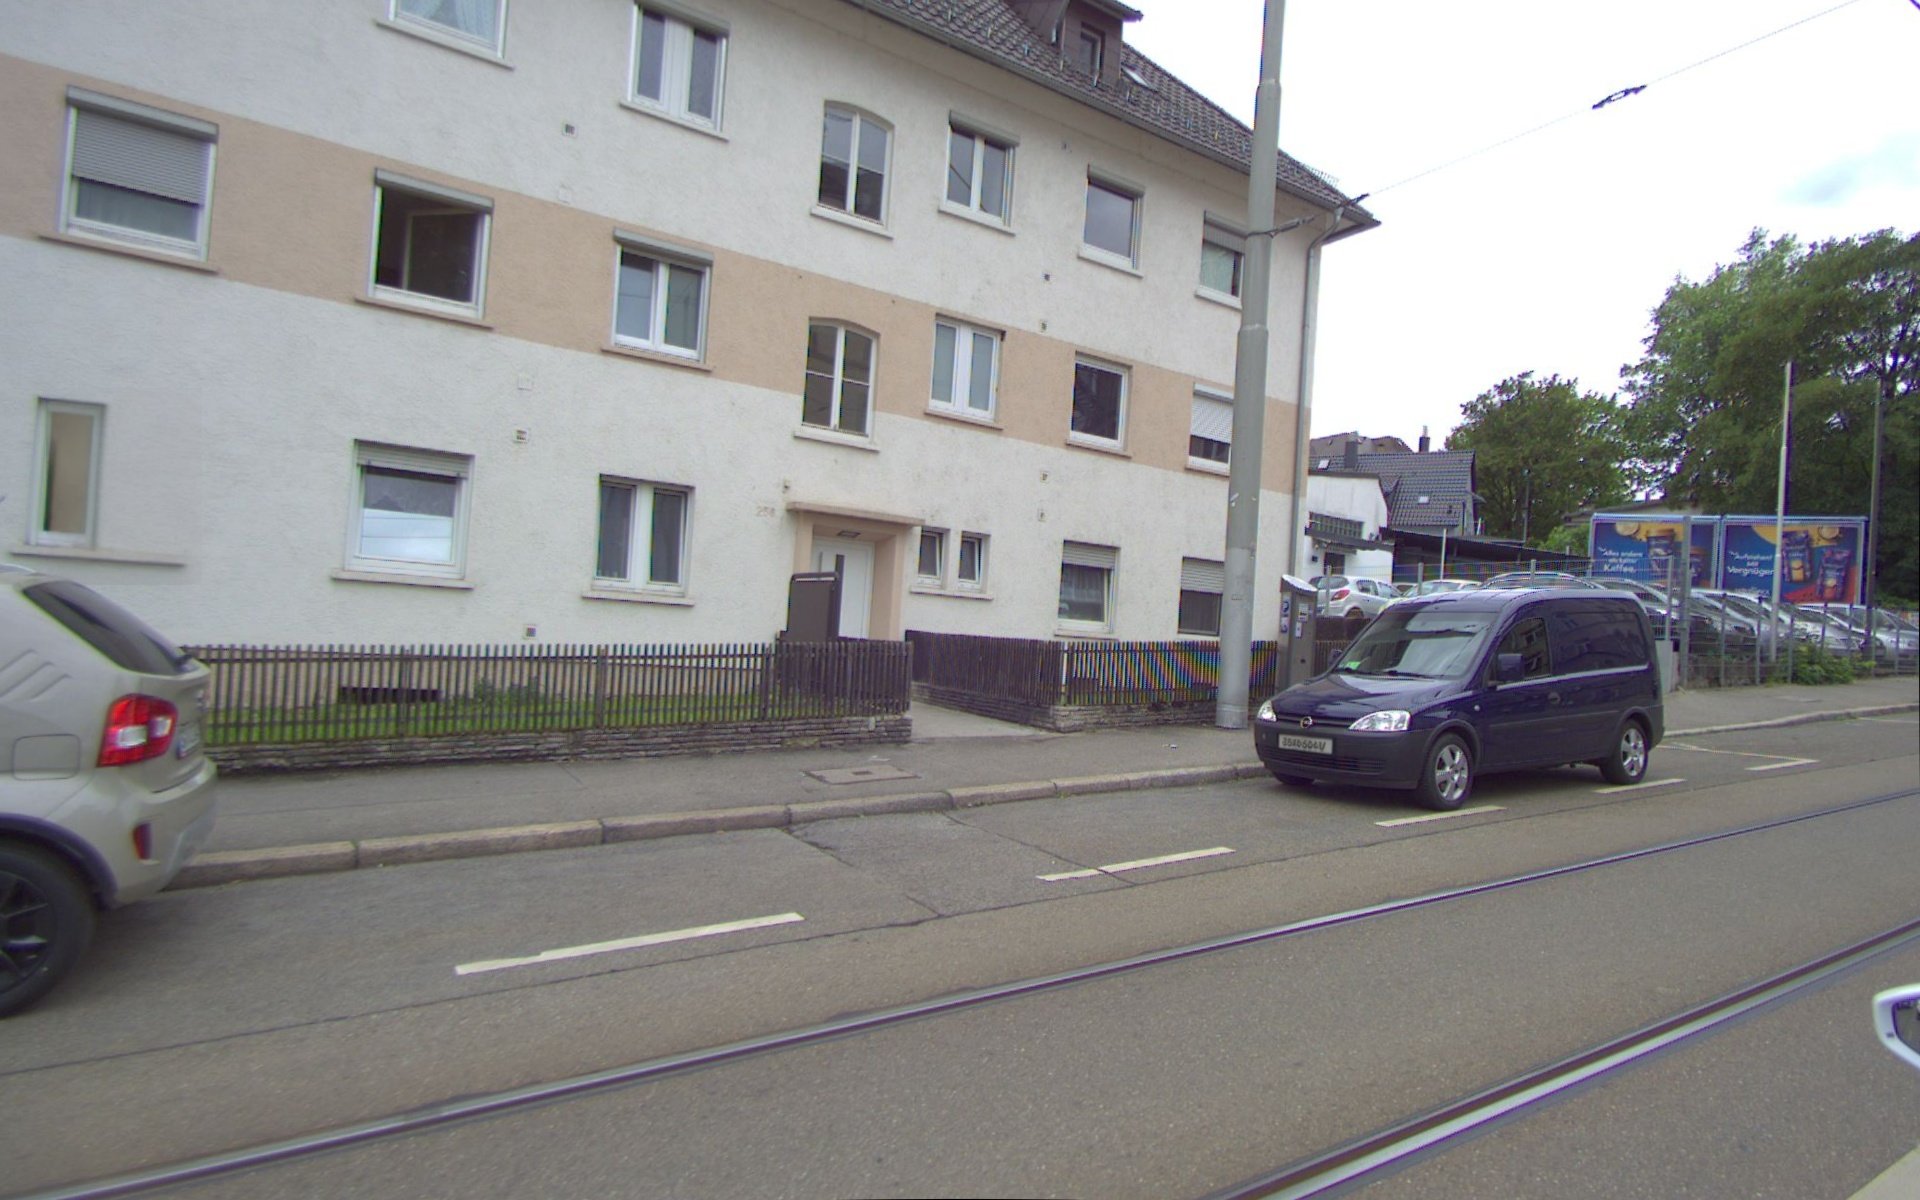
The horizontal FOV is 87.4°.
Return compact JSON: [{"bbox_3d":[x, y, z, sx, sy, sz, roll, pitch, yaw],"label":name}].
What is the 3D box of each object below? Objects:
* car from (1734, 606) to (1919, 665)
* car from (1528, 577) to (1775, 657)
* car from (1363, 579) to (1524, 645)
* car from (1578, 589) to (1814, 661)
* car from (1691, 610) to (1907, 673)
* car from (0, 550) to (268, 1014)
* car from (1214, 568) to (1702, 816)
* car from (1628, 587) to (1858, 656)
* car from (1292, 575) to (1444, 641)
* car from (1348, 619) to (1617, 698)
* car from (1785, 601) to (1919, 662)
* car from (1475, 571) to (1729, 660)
[{"bbox_3d":[23.246,0.896,26.738,1.669,1.375,3.856,1,0,-31],"label":"car"},{"bbox_3d":[14.762,0.321,21.671,1.719,1.544,4.039,1,0,-31],"label":"car"},{"bbox_3d":[11.906,0.290,24.691,3.843,1.514,1.674,1,0,-30],"label":"car"},{"bbox_3d":[16.755,0.516,23.075,1.669,1.464,4.039,1,0,-31],"label":"car"},{"bbox_3d":[21.086,0.997,25.404,1.669,1.375,3.856,1,0,-31],"label":"car"},{"bbox_3d":[-4.819,0.584,3.483,3.804,1.577,1.689,1,0,-30],"label":"car"},{"bbox_3d":[4.541,0.714,9.005,4.465,1.758,1.736,1,-2,-30],"label":"car"},{"bbox_3d":[18.757,0.470,24.255,1.669,1.514,4.039,1,0,-31],"label":"car"},{"bbox_3d":[10.759,0.224,26.444,3.843,1.635,1.674,1,0,-30],"label":"car"},{"bbox_3d":[9.986,1.161,19.576,1.839,1.363,4.319,1,-4,-31],"label":"car"},{"bbox_3d":[25.557,0.874,27.900,1.677,1.572,3.920,1,0,-45],"label":"car"},{"bbox_3d":[13.011,0.250,20.609,1.669,1.573,4.039,1,2,-31],"label":"car"}]
